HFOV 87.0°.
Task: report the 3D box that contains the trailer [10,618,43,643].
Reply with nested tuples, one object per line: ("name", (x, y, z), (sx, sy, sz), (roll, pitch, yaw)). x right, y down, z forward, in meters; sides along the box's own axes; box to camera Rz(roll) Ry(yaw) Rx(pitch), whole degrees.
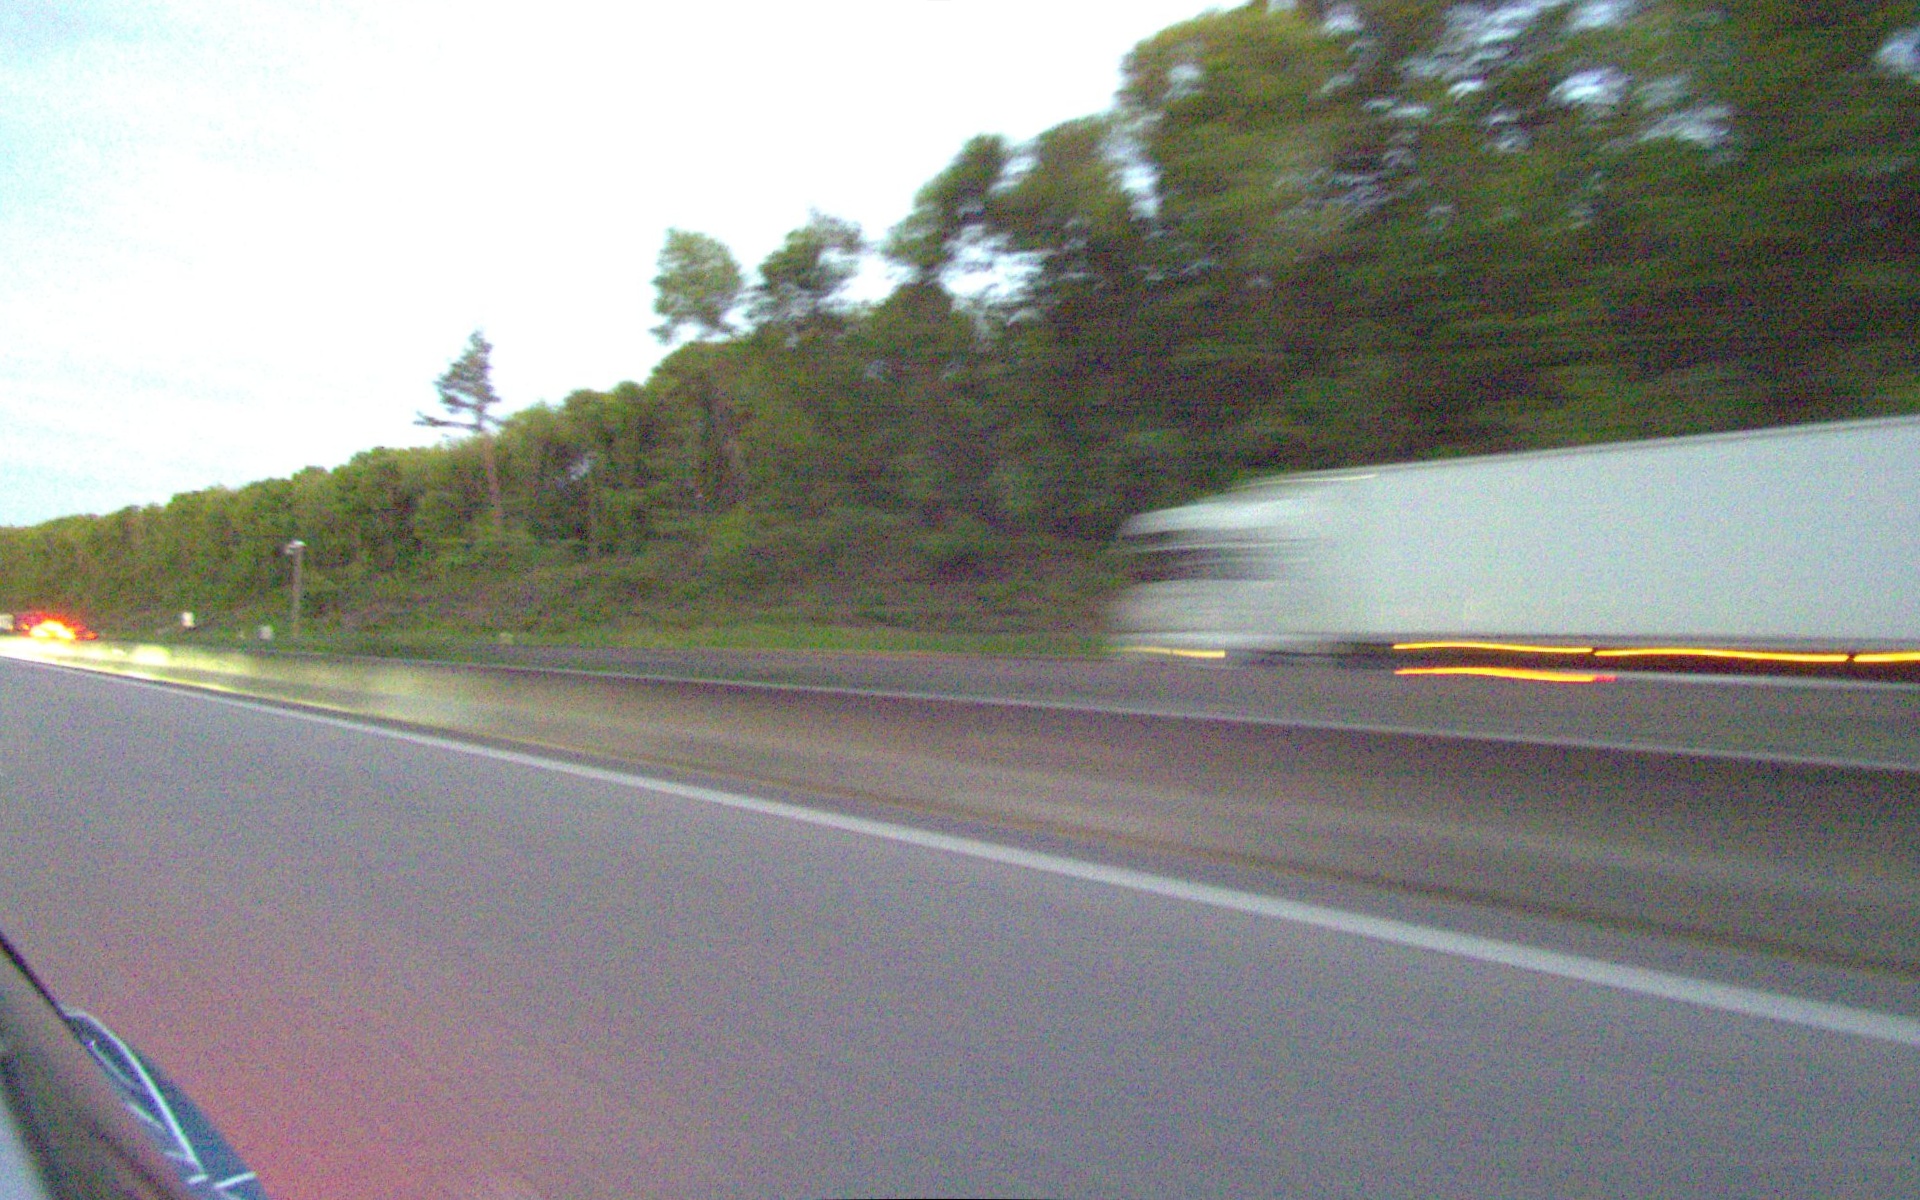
("trailer", (-165.553, 5.292, 179.420), (14.181, 4.136, 3.157), (-1, -1, 42))

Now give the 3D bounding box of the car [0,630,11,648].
("car", (-85.832, 3.452, 89.760), (5.157, 1.625, 1.896), (-2, -3, 42))

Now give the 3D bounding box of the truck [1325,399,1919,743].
("truck", (12.508, -0.318, 12.994), (14.487, 4.034, 3.322), (-1, -2, 41))

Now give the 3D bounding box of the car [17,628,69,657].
("car", (-63.143, 2.909, 69.666), (5.107, 1.946, 1.911), (-2, -3, 39))

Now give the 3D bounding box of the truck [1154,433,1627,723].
("truck", (7.237, -0.219, 17.565), (6.874, 4.034, 3.345), (-1, -2, 40))
